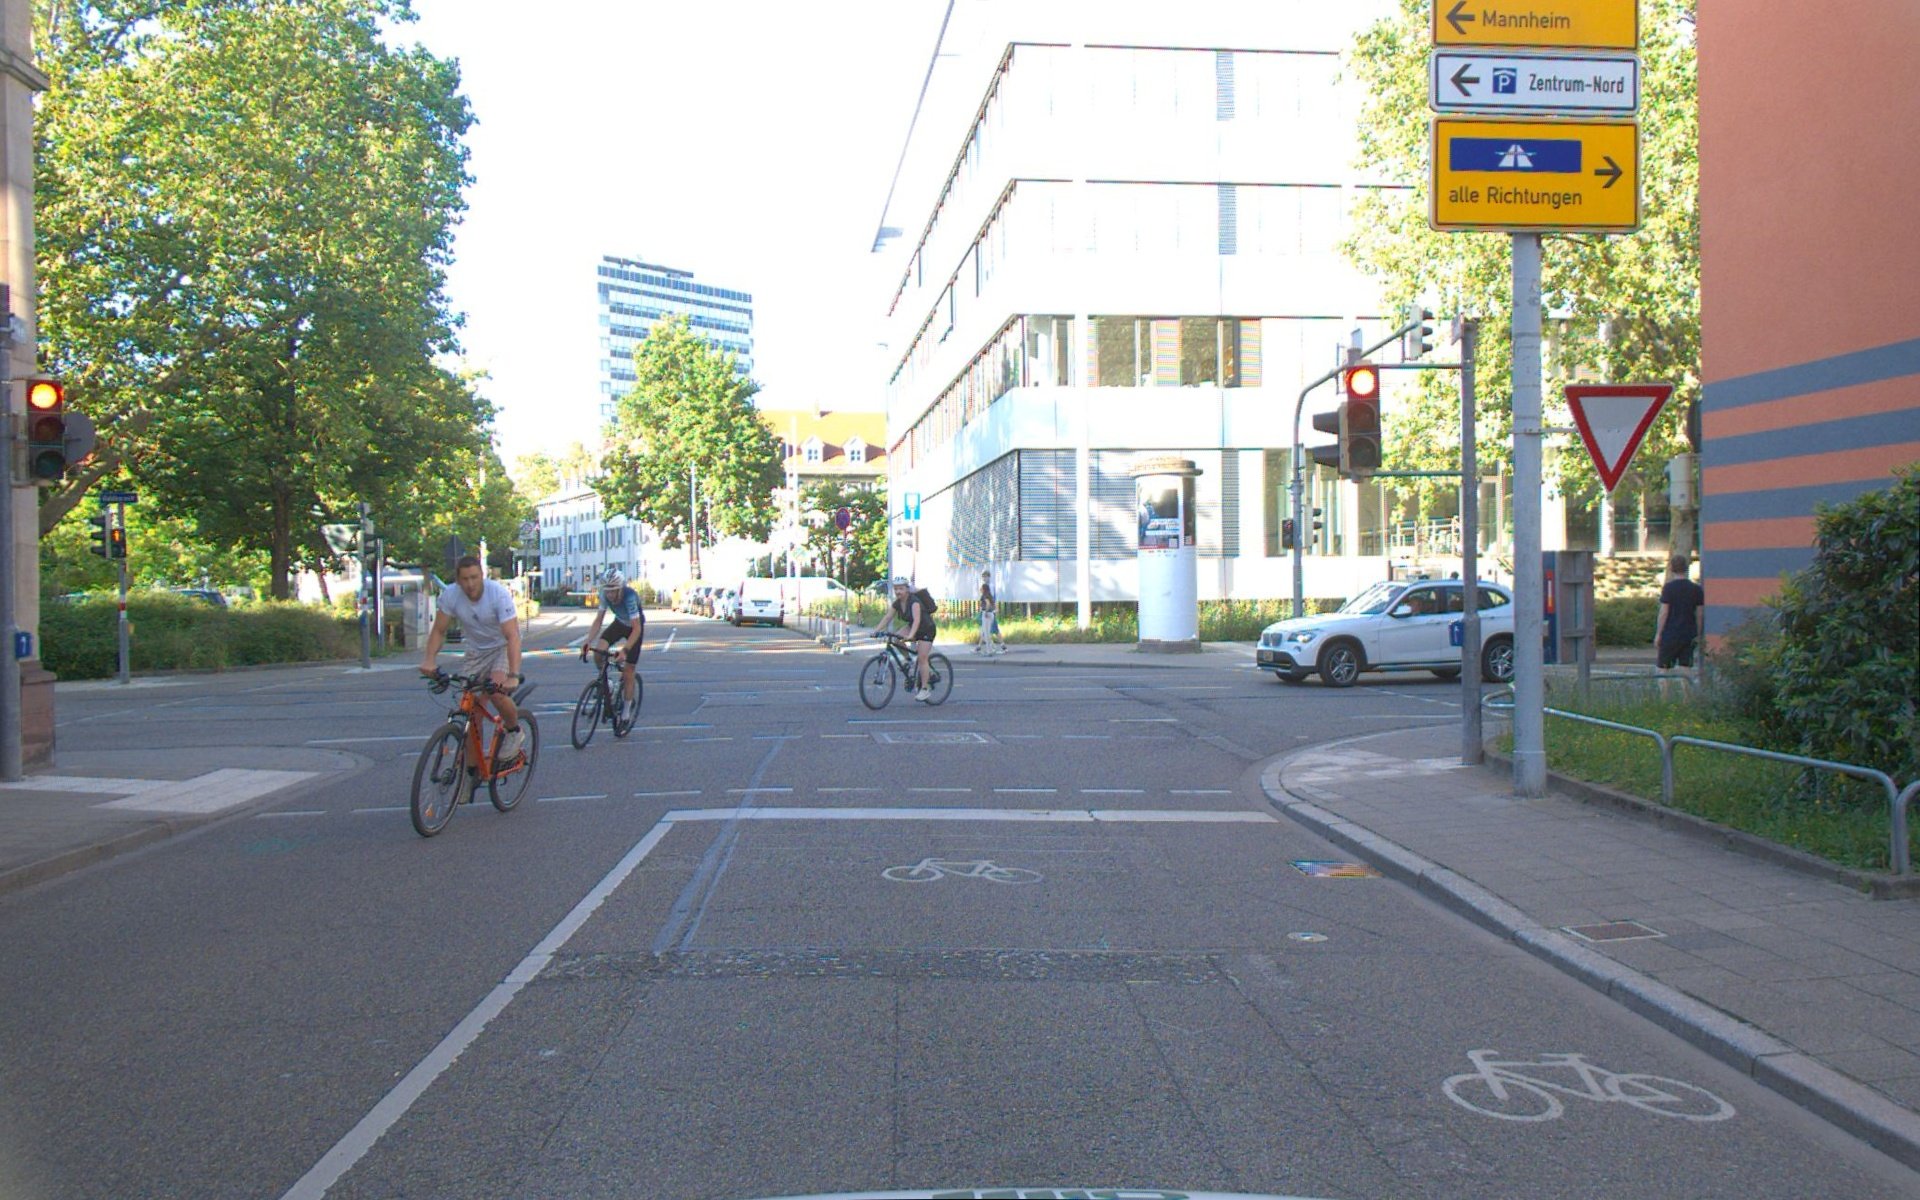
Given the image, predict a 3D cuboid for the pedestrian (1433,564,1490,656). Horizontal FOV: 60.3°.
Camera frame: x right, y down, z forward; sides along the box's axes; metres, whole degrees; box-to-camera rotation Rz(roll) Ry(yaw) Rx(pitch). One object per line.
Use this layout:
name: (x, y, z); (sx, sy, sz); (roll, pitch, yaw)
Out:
pedestrian: (10.245, 0.210, 33.800); (0.895, 1.847, 0.762); (1, -1, -1)

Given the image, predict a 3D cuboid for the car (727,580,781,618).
car: (-8.865, -0.026, 70.898); (1.958, 1.525, 4.639); (1, 0, -11)

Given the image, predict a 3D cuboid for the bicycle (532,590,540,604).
bicycle: (-35.249, -0.227, 137.505); (0.605, 1.172, 1.962); (-1, 0, -15)

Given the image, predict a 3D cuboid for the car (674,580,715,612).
car: (-15.381, -0.222, 95.600); (1.960, 1.755, 4.635); (1, 0, -14)

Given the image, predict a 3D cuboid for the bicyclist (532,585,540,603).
bicyclist: (-35.247, -0.497, 137.471); (0.605, 1.498, 0.737); (-1, 0, -16)

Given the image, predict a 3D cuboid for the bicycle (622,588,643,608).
bicycle: (-19.768, -0.118, 99.927); (0.578, 1.172, 1.972); (-1, 0, 10)

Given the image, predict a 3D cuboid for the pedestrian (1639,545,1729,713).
pedestrian: (8.188, 0.321, 18.715); (0.713, 1.842, 0.691); (1, -1, -42)

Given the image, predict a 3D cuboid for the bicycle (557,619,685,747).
bicycle: (-3.380, 0.800, 16.636); (0.612, 1.172, 1.786); (-1, 0, 11)

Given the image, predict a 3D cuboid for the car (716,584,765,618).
car: (-10.191, 0.051, 76.648); (1.958, 1.525, 4.639); (1, 0, -11)

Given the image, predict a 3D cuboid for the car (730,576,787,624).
car: (-7.912, 0.009, 64.698); (1.957, 1.755, 4.641); (1, 0, -10)

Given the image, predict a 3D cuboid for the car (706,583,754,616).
car: (-11.304, -0.017, 81.079); (1.959, 1.525, 4.272); (1, 0, -13)

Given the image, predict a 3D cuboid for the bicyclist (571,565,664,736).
bicyclist: (-3.407, 0.487, 16.496); (0.612, 1.657, 0.827); (-1, 0, 11)

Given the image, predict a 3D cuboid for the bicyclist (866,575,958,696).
bicyclist: (-0.594, 0.428, 20.637); (0.966, 1.471, 0.618); (-1, 0, -43)

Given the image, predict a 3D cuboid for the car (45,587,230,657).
car: (-18.361, 0.488, 37.060); (3.347, 1.483, 1.646); (1, 0, -11)

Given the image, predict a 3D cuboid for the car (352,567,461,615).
car: (-24.959, -0.391, 74.677); (4.363, 2.049, 1.995); (1, 0, -10)

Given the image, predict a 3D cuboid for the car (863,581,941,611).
car: (-3.673, -0.251, 104.719); (4.563, 1.755, 1.991); (1, 0, -17)

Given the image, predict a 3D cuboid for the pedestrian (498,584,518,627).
pedestrian: (-17.280, 0.212, 63.214); (0.688, 1.614, 0.634); (1, -1, -16)

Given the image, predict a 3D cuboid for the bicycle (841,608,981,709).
bicycle: (-0.593, 0.700, 20.631); (1.769, 1.172, 0.618); (-1, 1, -43)

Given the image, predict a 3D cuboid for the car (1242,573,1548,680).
car: (6.639, 0.368, 25.322); (4.283, 1.541, 1.712); (0, 0, -15)

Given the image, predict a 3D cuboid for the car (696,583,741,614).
car: (-12.548, -0.060, 85.785); (1.959, 1.525, 4.637); (1, 0, -13)

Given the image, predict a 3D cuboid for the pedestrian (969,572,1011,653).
pedestrian: (0.655, 0.274, 36.281); (0.749, 1.749, 0.648); (1, -1, 17)

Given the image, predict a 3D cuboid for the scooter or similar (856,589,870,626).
scooter or similar: (-3.424, 0.260, 58.232); (0.429, 1.278, 1.418); (-1, 0, -5)

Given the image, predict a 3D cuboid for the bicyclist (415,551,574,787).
bicyclist: (-3.188, 0.451, 11.395); (0.687, 1.549, 0.919); (-1, 0, 11)

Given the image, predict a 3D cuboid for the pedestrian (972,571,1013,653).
pedestrian: (0.734, 0.270, 37.187); (0.749, 1.826, 0.648); (1, -1, 17)

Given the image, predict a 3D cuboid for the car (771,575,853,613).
car: (-9.198, -0.364, 102.793); (4.718, 2.196, 1.990); (1, 0, -18)

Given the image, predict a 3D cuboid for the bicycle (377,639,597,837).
bicycle: (-3.198, 0.892, 11.395); (0.612, 1.172, 1.972); (-1, 0, 11)

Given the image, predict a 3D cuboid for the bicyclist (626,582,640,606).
bicyclist: (-19.777, -0.361, 99.909); (0.578, 1.421, 0.748); (-1, 0, 10)
